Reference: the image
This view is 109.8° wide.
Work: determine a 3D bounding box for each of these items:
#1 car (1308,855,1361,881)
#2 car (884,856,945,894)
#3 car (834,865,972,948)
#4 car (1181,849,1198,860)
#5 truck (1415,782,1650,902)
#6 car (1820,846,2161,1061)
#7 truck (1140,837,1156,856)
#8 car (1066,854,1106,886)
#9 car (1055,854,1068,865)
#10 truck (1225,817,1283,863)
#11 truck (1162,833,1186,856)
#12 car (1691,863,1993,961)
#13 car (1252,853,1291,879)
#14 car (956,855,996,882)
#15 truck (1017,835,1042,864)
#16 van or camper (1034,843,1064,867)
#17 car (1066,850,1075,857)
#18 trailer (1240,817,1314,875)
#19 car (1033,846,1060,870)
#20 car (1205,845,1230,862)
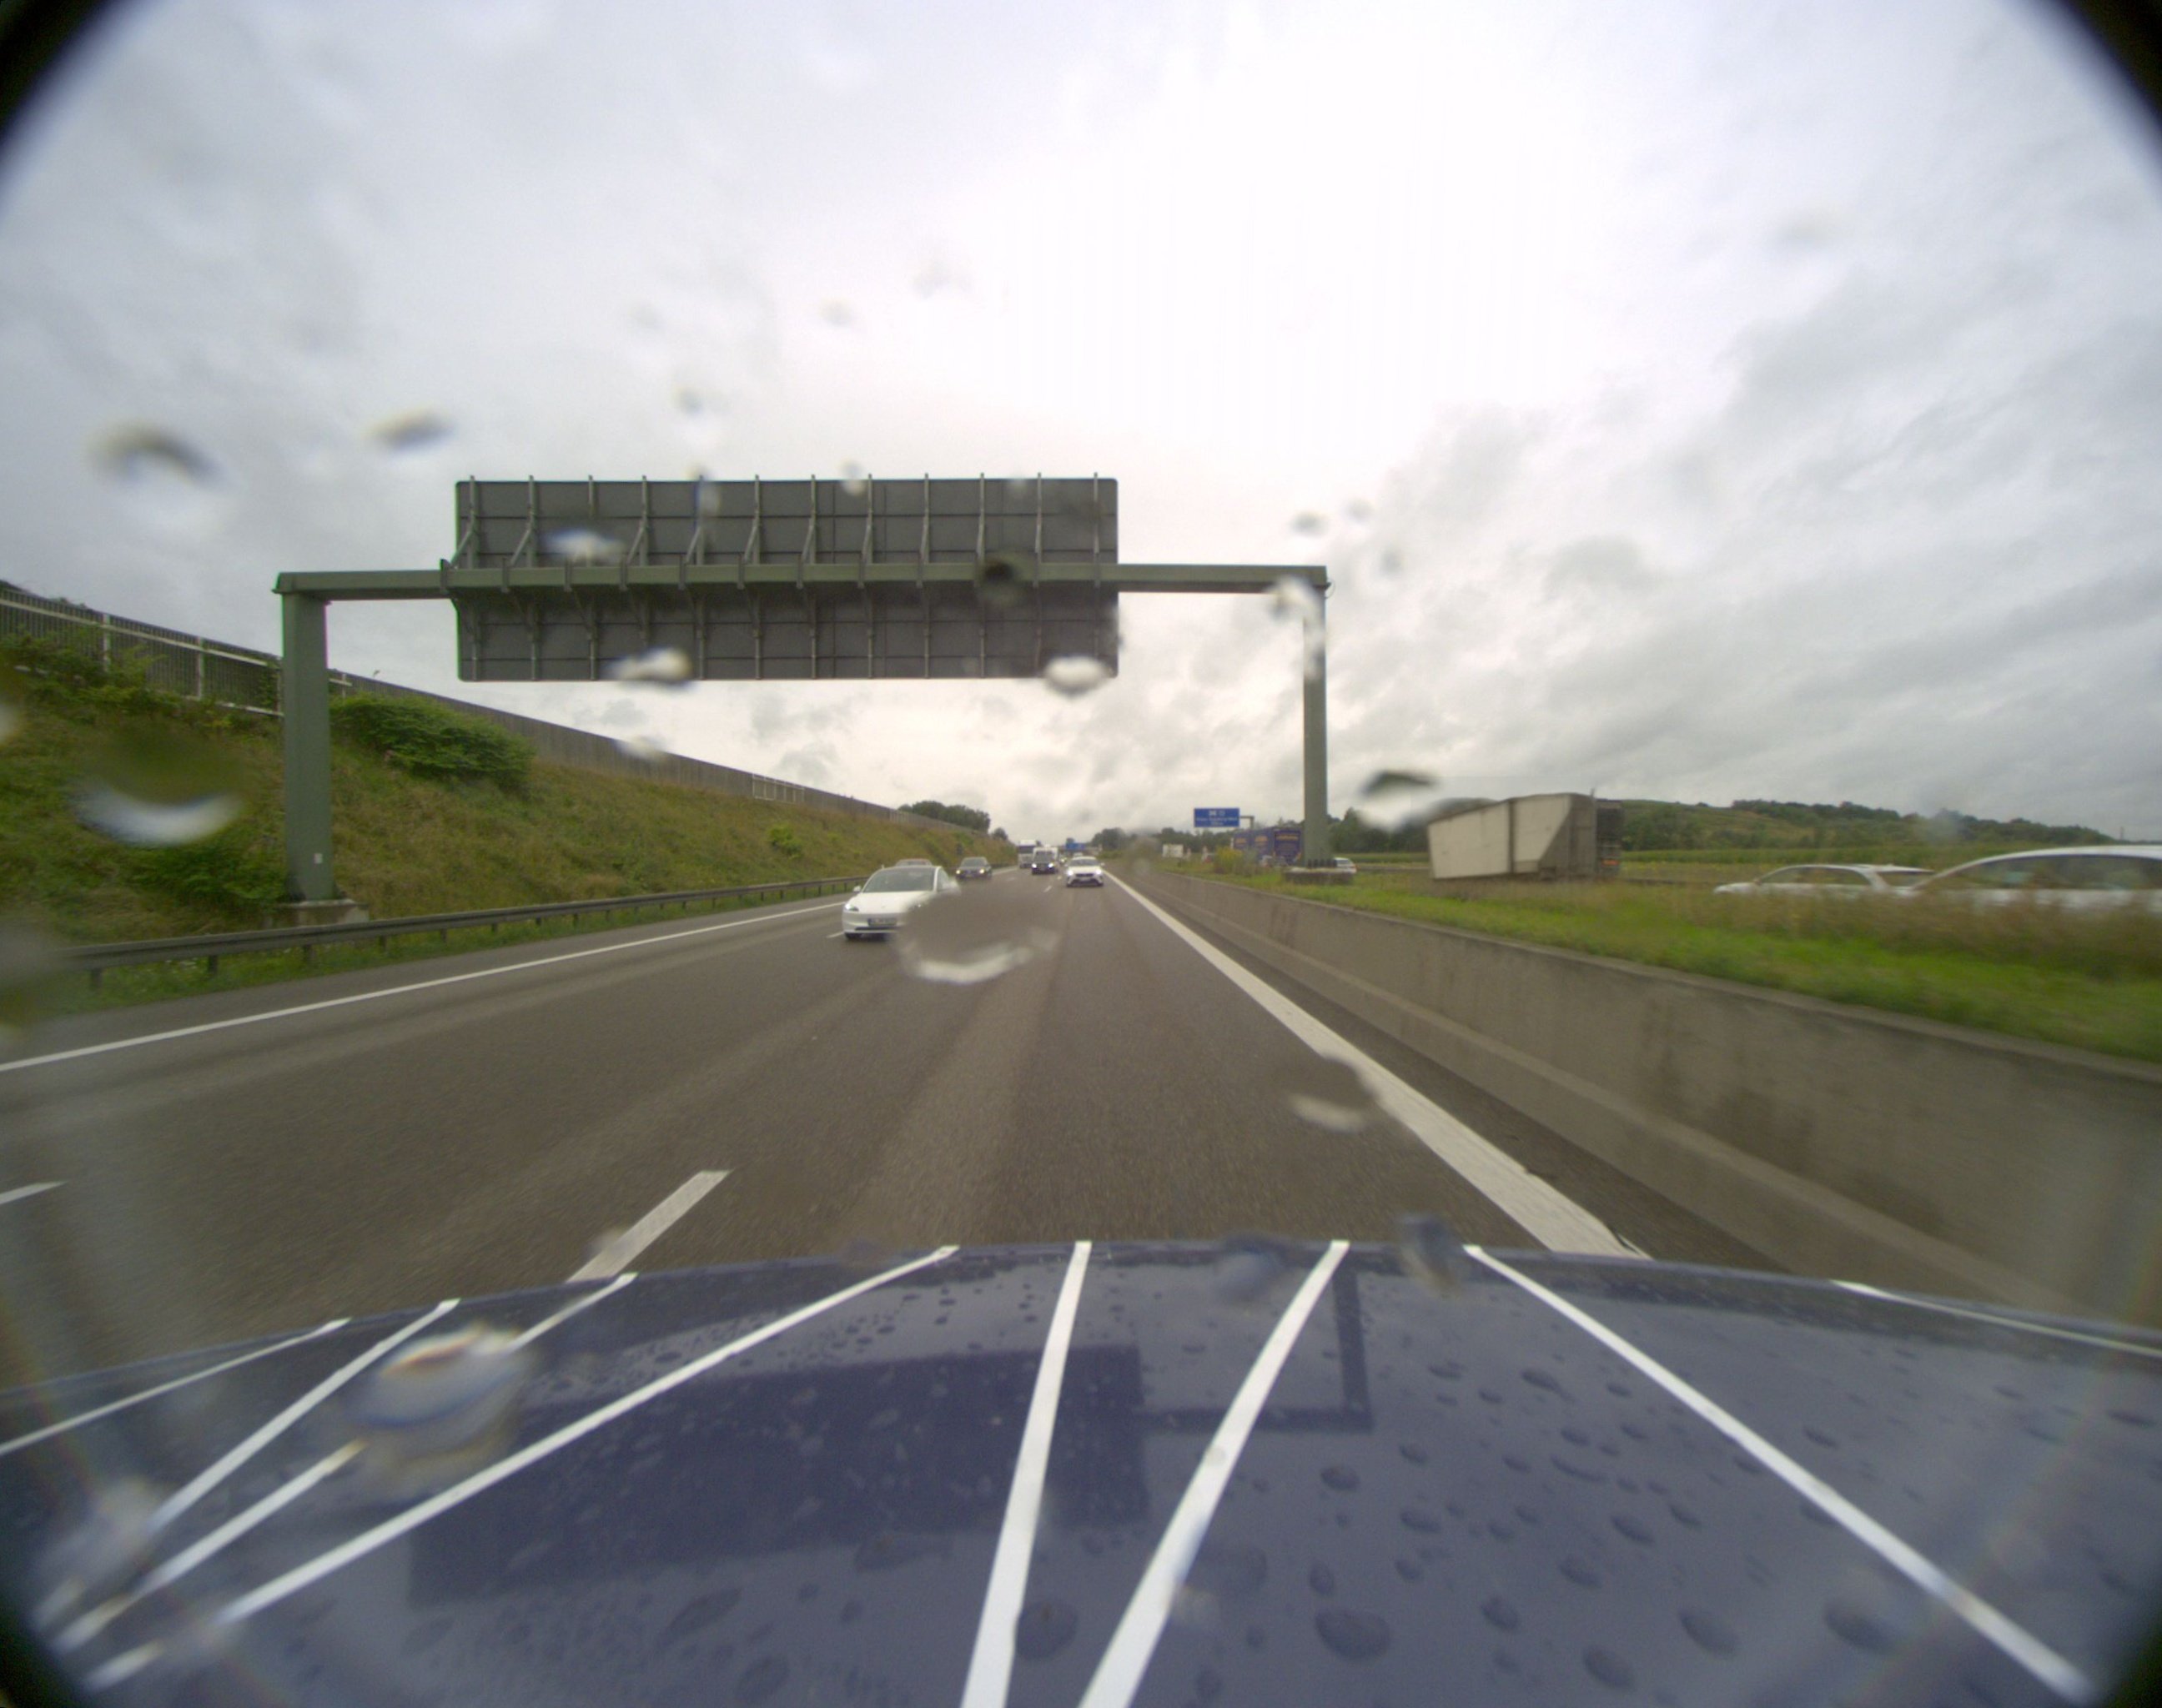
[{"bbox_3d":[17.104,0.913,51.463,1.887,1.606,5.014,0,0,0],"label":"car"},{"bbox_3d":[-7.539,0.916,34.736,1.878,1.526,3.999,-2,1,-1],"label":"car"},{"bbox_3d":[-3.704,1.029,16.760,1.878,1.355,4.812,-2,1,0],"label":"car"},{"bbox_3d":[17.397,0.116,122.116,1.998,1.674,3.999,-2,1,0],"label":"car"},{"bbox_3d":[19.954,-0.525,35.084,3.521,4.458,11.784,-2,1,-1],"label":"truck"},{"bbox_3d":[9.816,0.813,7.184,1.785,1.707,3.999,-2,1,1],"label":"car"},{"bbox_3d":[16.975,-1.988,193.060,3.233,4.623,9.672,-2,1,0],"label":"truck"},{"bbox_3d":[0.264,0.765,38.305,1.841,1.455,3.999,-2,1,1],"label":"car"},{"bbox_3d":[-3.071,0.835,119.590,1.999,1.759,3.999,0,0,-2],"label":"car"},{"bbox_3d":[17.550,-1.410,78.007,3.421,4.338,10.989,-2,1,0],"label":"truck"},{"bbox_3d":[17.570,-1.821,143.987,3.192,3.944,10.809,-2,1,1],"label":"truck"},{"bbox_3d":[16.709,1.158,17.165,1.998,1.707,4.836,-2,1,1],"label":"car"},{"bbox_3d":[13.224,0.804,53.035,1.758,1.698,4.000,0,0,1],"label":"car"},{"bbox_3d":[-6.651,0.876,48.648,1.929,1.480,4.485,-2,1,0],"label":"car"},{"bbox_3d":[-7.411,-0.687,110.788,3.090,4.003,6.955,-2,1,-1],"label":"truck"},{"bbox_3d":[-3.024,0.035,73.076,2.432,2.139,6.497,-2,1,1],"label":"van or camper"},{"bbox_3d":[-2.643,-0.127,186.172,1.998,1.696,3.999,-2,1,1],"label":"car"},{"bbox_3d":[17.507,-0.686,68.829,3.396,4.741,11.679,-2,0,-1],"label":"trailer"},{"bbox_3d":[-3.030,0.317,67.784,1.998,2.002,4.937,-2,1,1],"label":"car"},{"bbox_3d":[14.199,-0.079,79.131,1.871,1.774,4.000,0,0,1],"label":"car"}]
